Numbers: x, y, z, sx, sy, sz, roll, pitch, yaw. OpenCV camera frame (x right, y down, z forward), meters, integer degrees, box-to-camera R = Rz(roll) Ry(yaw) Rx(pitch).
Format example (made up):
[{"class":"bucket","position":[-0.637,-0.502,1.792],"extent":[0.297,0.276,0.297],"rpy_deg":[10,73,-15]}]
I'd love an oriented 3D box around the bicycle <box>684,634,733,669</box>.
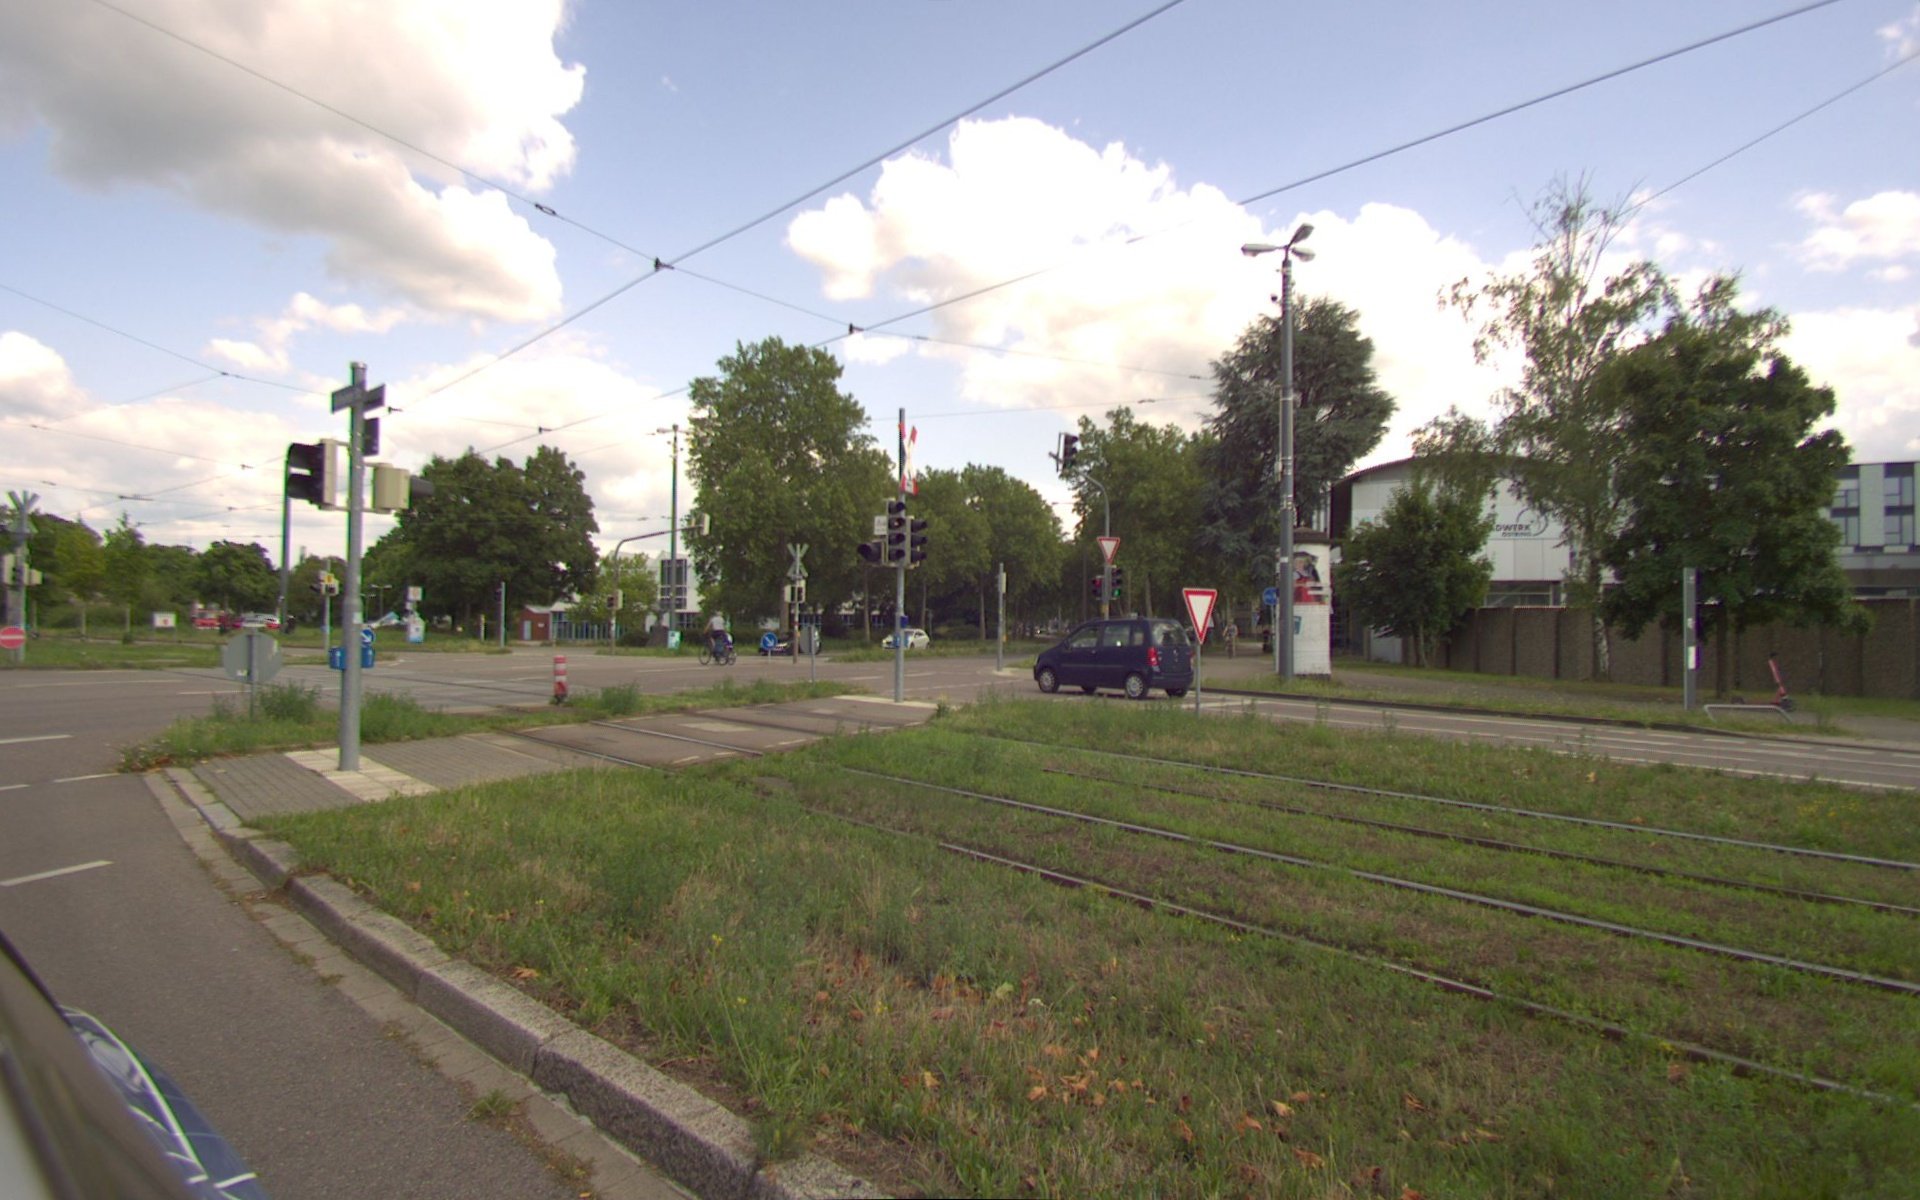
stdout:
[{"class":"bicycle","position":[-8.394,1.704,33.717],"extent":[1.804,1.088,0.639],"rpy_deg":[-1,-2,41]}]

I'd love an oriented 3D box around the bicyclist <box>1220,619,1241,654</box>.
[{"class":"bicyclist","position":[12.736,1.722,47.644],"extent":[0.794,1.647,1.016],"rpy_deg":[-1,-2,7]}]

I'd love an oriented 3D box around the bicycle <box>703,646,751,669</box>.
[{"class":"bicycle","position":[-7.904,1.947,34.269],"extent":[1.803,0.723,0.639],"rpy_deg":[-1,-2,40]}]

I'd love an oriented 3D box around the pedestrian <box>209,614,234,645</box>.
[{"class":"pedestrian","position":[-45.382,1.840,62.183],"extent":[0.998,1.882,0.899],"rpy_deg":[0,-2,30]}]

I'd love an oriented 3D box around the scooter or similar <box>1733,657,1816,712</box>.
[{"class":"scooter or similar","position":[16.416,1.694,20.425],"extent":[0.420,1.041,1.227],"rpy_deg":[1,-2,-28]}]

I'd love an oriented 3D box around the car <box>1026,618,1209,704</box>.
[{"class":"car","position":[3.277,1.220,21.441],"extent":[1.757,1.639,3.500],"rpy_deg":[2,-2,-42]}]

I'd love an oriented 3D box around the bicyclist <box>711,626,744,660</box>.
[{"class":"bicyclist","position":[-7.877,1.451,34.268],"extent":[0.928,1.121,0.633],"rpy_deg":[-1,-2,40]}]

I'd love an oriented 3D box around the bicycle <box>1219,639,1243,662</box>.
[{"class":"bicycle","position":[12.750,2.373,47.660],"extent":[0.795,1.068,2.065],"rpy_deg":[-1,-2,6]}]

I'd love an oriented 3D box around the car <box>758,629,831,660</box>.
[{"class":"car","position":[-8.623,2.303,52.992],"extent":[1.693,1.535,3.816],"rpy_deg":[0,-2,30]}]

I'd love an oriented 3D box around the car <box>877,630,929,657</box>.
[{"class":"car","position":[-3.349,2.537,59.993],"extent":[1.687,1.535,3.884],"rpy_deg":[0,-2,20]}]

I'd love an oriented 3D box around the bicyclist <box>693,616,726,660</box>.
[{"class":"bicyclist","position":[-8.328,1.260,33.688],"extent":[0.928,1.468,0.616],"rpy_deg":[-1,-2,40]}]
